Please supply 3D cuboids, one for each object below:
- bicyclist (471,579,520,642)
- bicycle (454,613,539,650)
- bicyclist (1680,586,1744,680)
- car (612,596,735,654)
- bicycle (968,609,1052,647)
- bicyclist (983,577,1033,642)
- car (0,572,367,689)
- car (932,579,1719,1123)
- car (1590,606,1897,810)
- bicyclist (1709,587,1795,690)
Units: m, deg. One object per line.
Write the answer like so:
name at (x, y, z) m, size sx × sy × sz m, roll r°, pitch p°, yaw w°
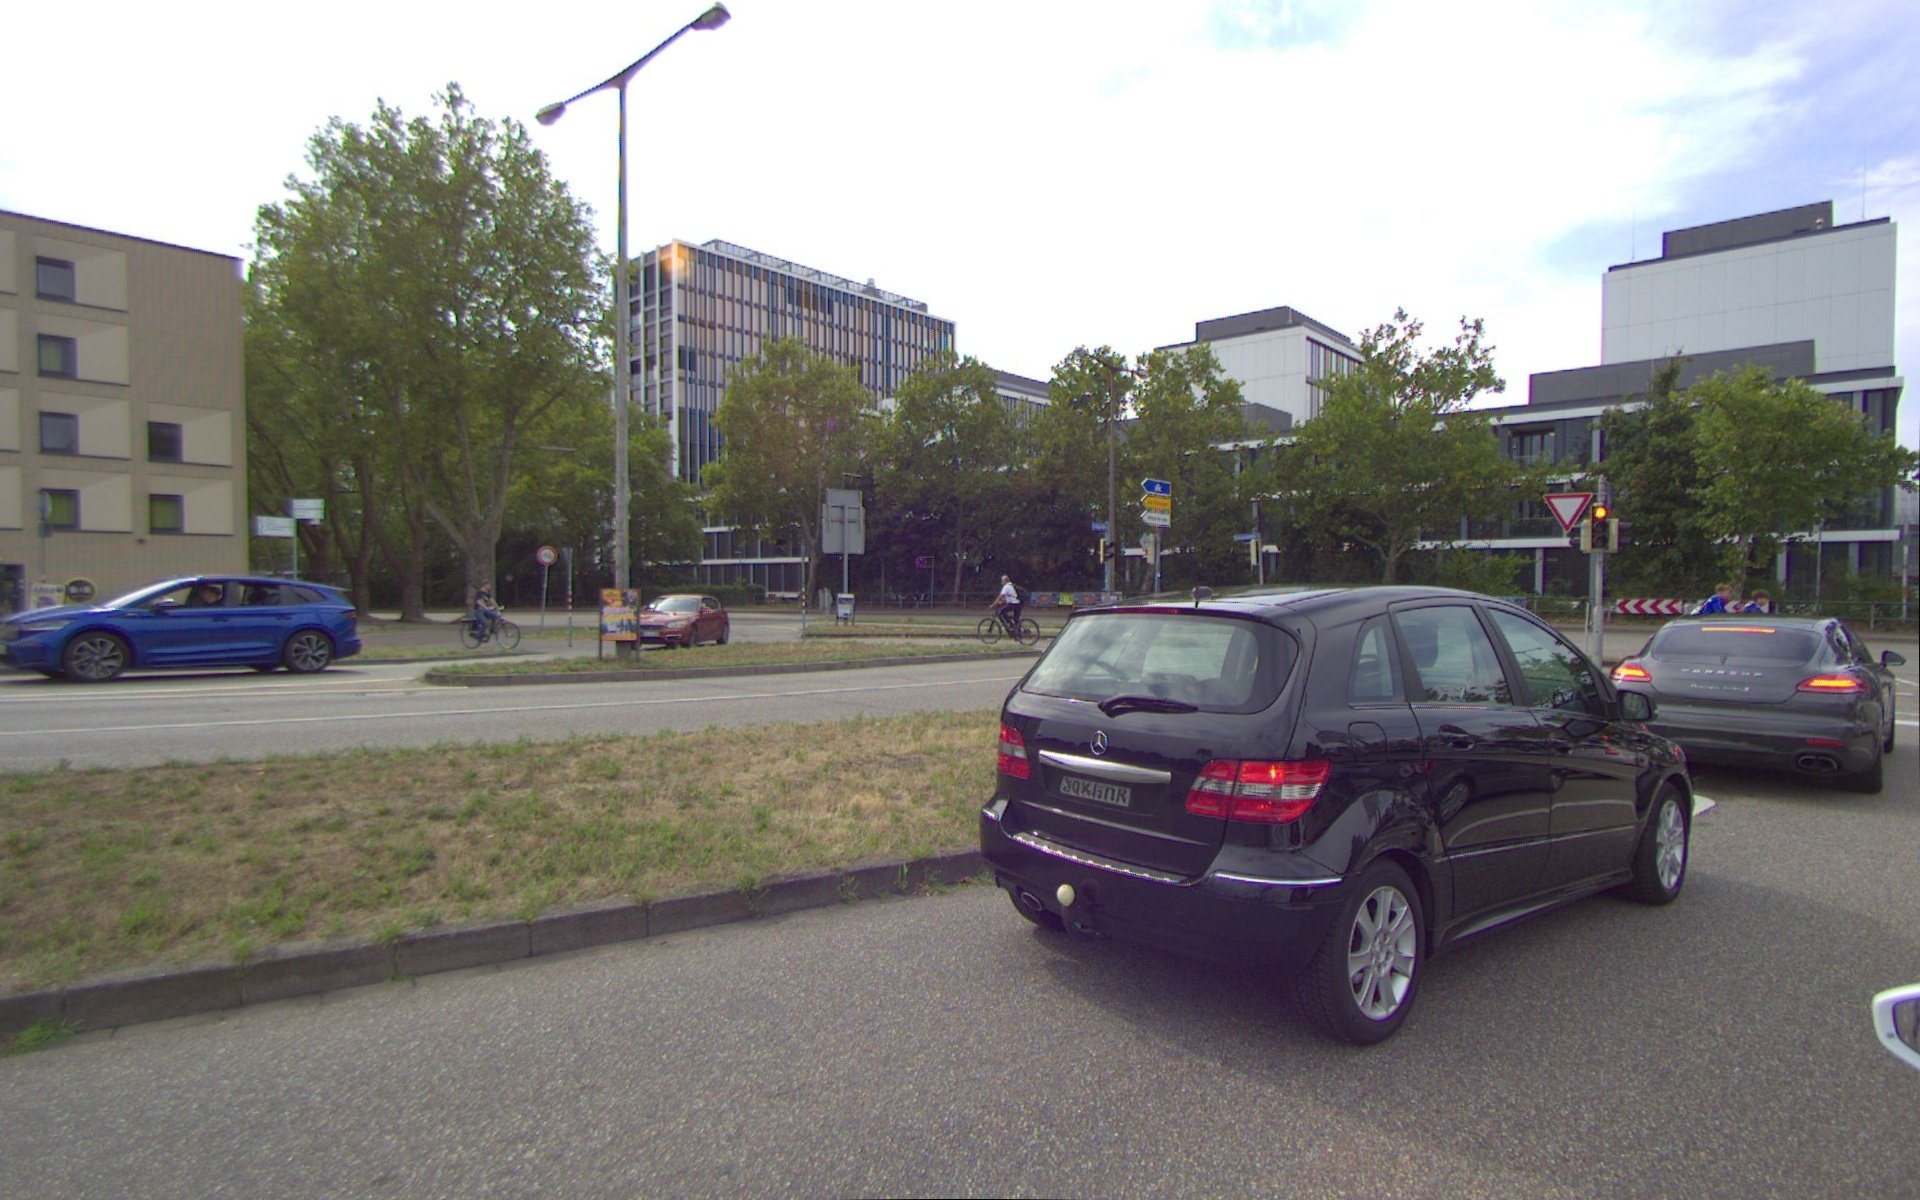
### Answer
bicyclist at (-12.392, 0.275, 26.813) m, size 0.902 × 1.636 × 0.742 m, roll 1°, pitch 0°, yaw 16°
bicycle at (-12.347, 0.816, 26.782) m, size 2.077 × 0.921 × 0.742 m, roll 1°, pitch 0°, yaw 16°
bicyclist at (12.851, 0.543, 17.167) m, size 0.828 × 1.550 × 0.625 m, roll 1°, pitch 1°, yaw 40°
car at (-7.606, 0.644, 27.085) m, size 1.911 × 1.399 × 4.216 m, roll 1°, pitch 0°, yaw 3°
bicycle at (1.342, 0.748, 27.273) m, size 2.199 × 0.965 × 0.809 m, roll 1°, pitch 0°, yaw 36°
bicyclist at (1.300, 0.252, 27.293) m, size 1.097 × 1.719 × 0.810 m, roll 1°, pitch 1°, yaw 35°
car at (-12.269, 0.440, 16.012) m, size 1.916 × 1.581 × 4.453 m, roll 1°, pitch 0°, yaw 32°
car at (1.982, 0.713, 4.882) m, size 4.000 × 1.596 × 1.743 m, roll -1°, pitch 2°, yaw -38°
car at (7.720, 0.809, 9.692) m, size 1.800 × 1.433 × 4.746 m, roll 2°, pitch 1°, yaw 44°
bicyclist at (12.483, 0.573, 15.833) m, size 1.005 × 1.560 × 0.625 m, roll 1°, pitch 1°, yaw 43°
